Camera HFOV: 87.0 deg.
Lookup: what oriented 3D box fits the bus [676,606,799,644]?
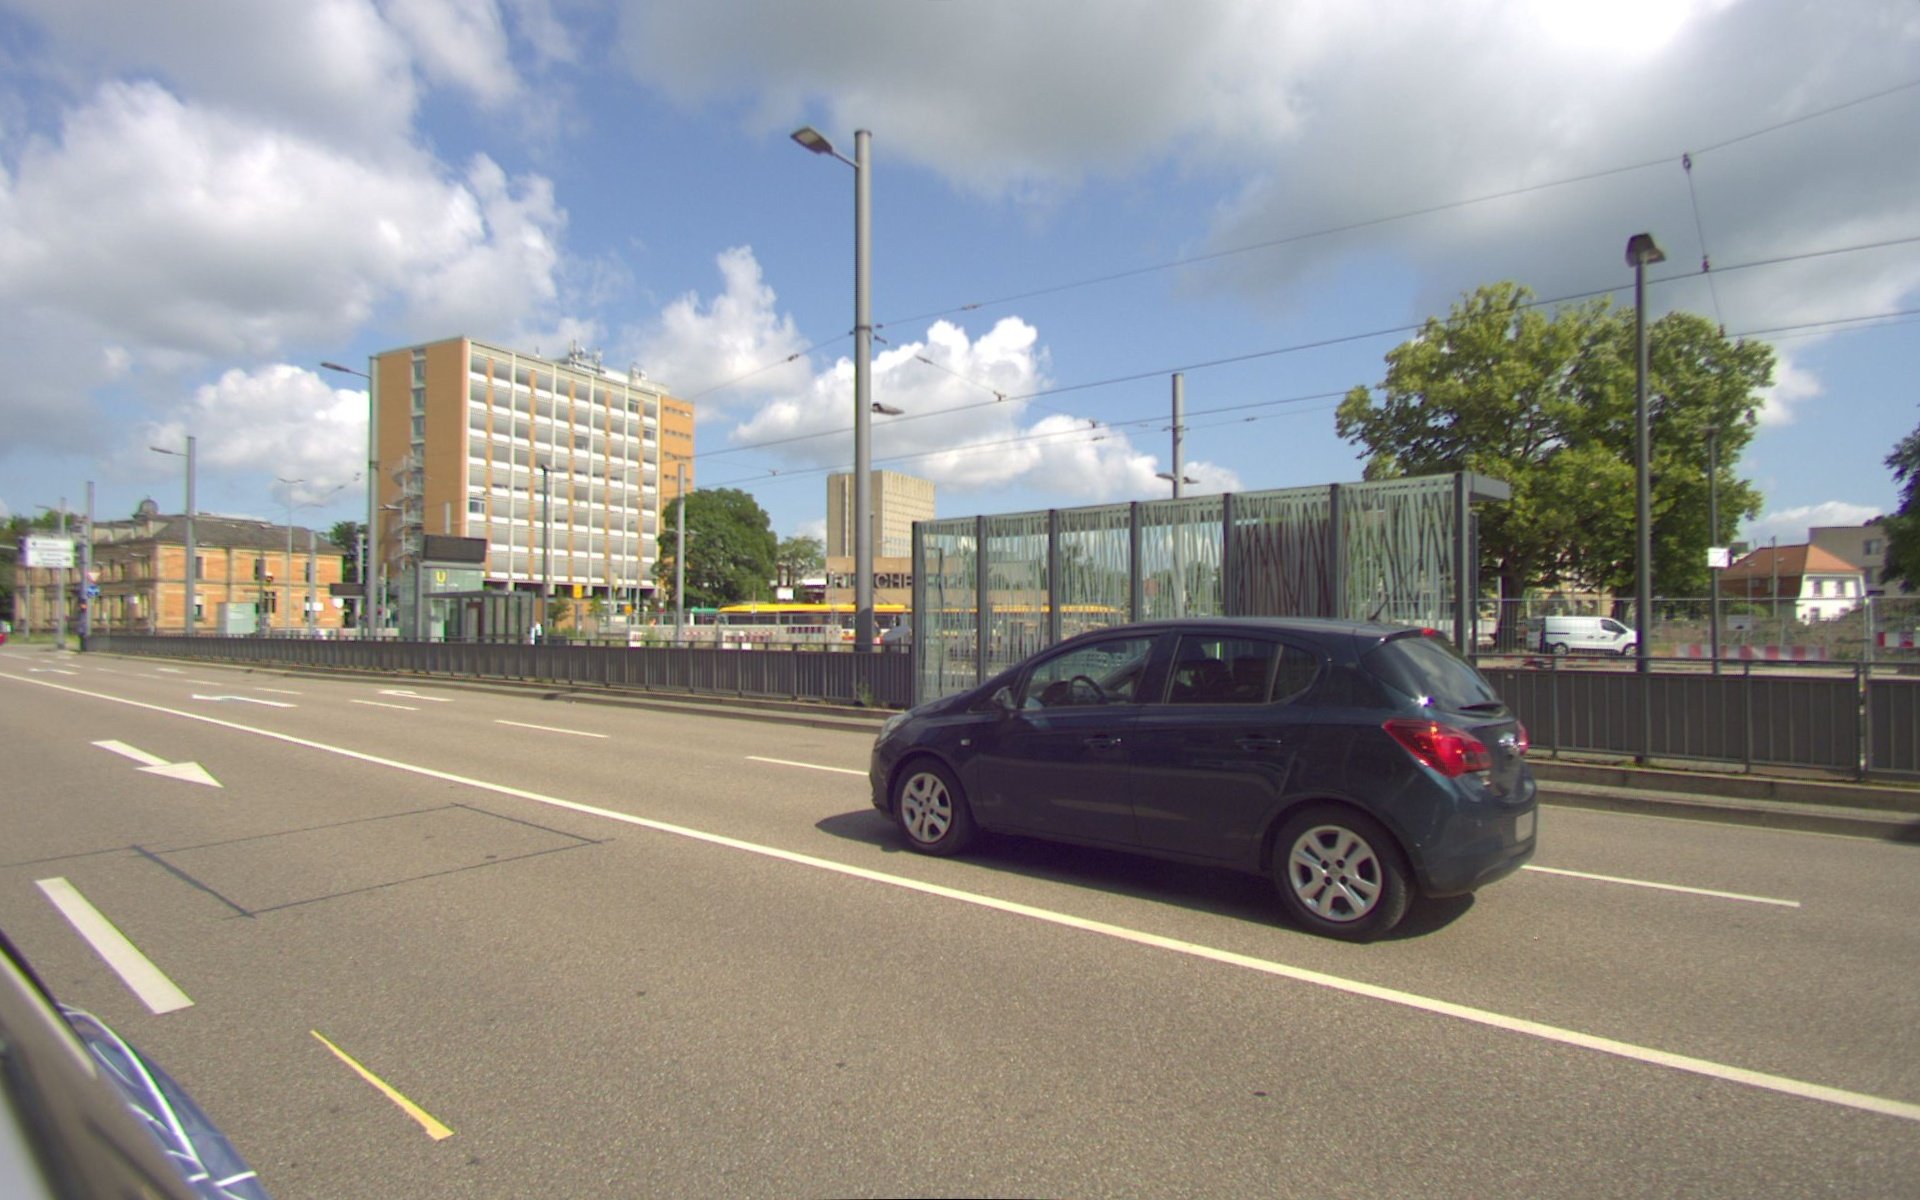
[{"bbox_3d":[-22.515,2.583,103.118,12.176,3.648,2.922,1,-3,-38],"label":"bus"}]

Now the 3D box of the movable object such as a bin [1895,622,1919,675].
[{"bbox_3d":[29.963,1.358,28.336,5.130,1.514,1.981,-1,-2,28],"label":"movable object such as a bin"}]

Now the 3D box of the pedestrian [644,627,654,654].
[{"bbox_3d":[-20.906,2.732,67.988,0.553,1.808,0.721,0,-2,-7],"label":"pedestrian"}]

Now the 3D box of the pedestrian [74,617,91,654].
[{"bbox_3d":[-48.042,1.958,55.415,0.513,2.029,0.498,-2,-3,29],"label":"pedestrian"}]

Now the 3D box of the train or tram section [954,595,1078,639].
[{"bbox_3d":[4.872,1.536,89.599,10.445,3.507,3.328,-2,-3,-6],"label":"train or tram section"}]

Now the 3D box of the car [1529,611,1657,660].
[{"bbox_3d":[29.872,1.690,47.884,4.591,2.154,1.936,-2,-2,8],"label":"car"}]

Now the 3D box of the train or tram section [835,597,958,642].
[{"bbox_3d":[-5.572,1.738,88.577,10.445,3.507,3.328,-2,-3,-6],"label":"train or tram section"}]

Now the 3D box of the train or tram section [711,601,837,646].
[{"bbox_3d":[-15.950,2.053,87.544,10.445,3.507,3.328,-2,-3,-6],"label":"train or tram section"}]

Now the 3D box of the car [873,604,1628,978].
[{"bbox_3d":[1.481,0.794,5.832,3.739,1.428,1.896,-2,-3,41],"label":"car"}]
